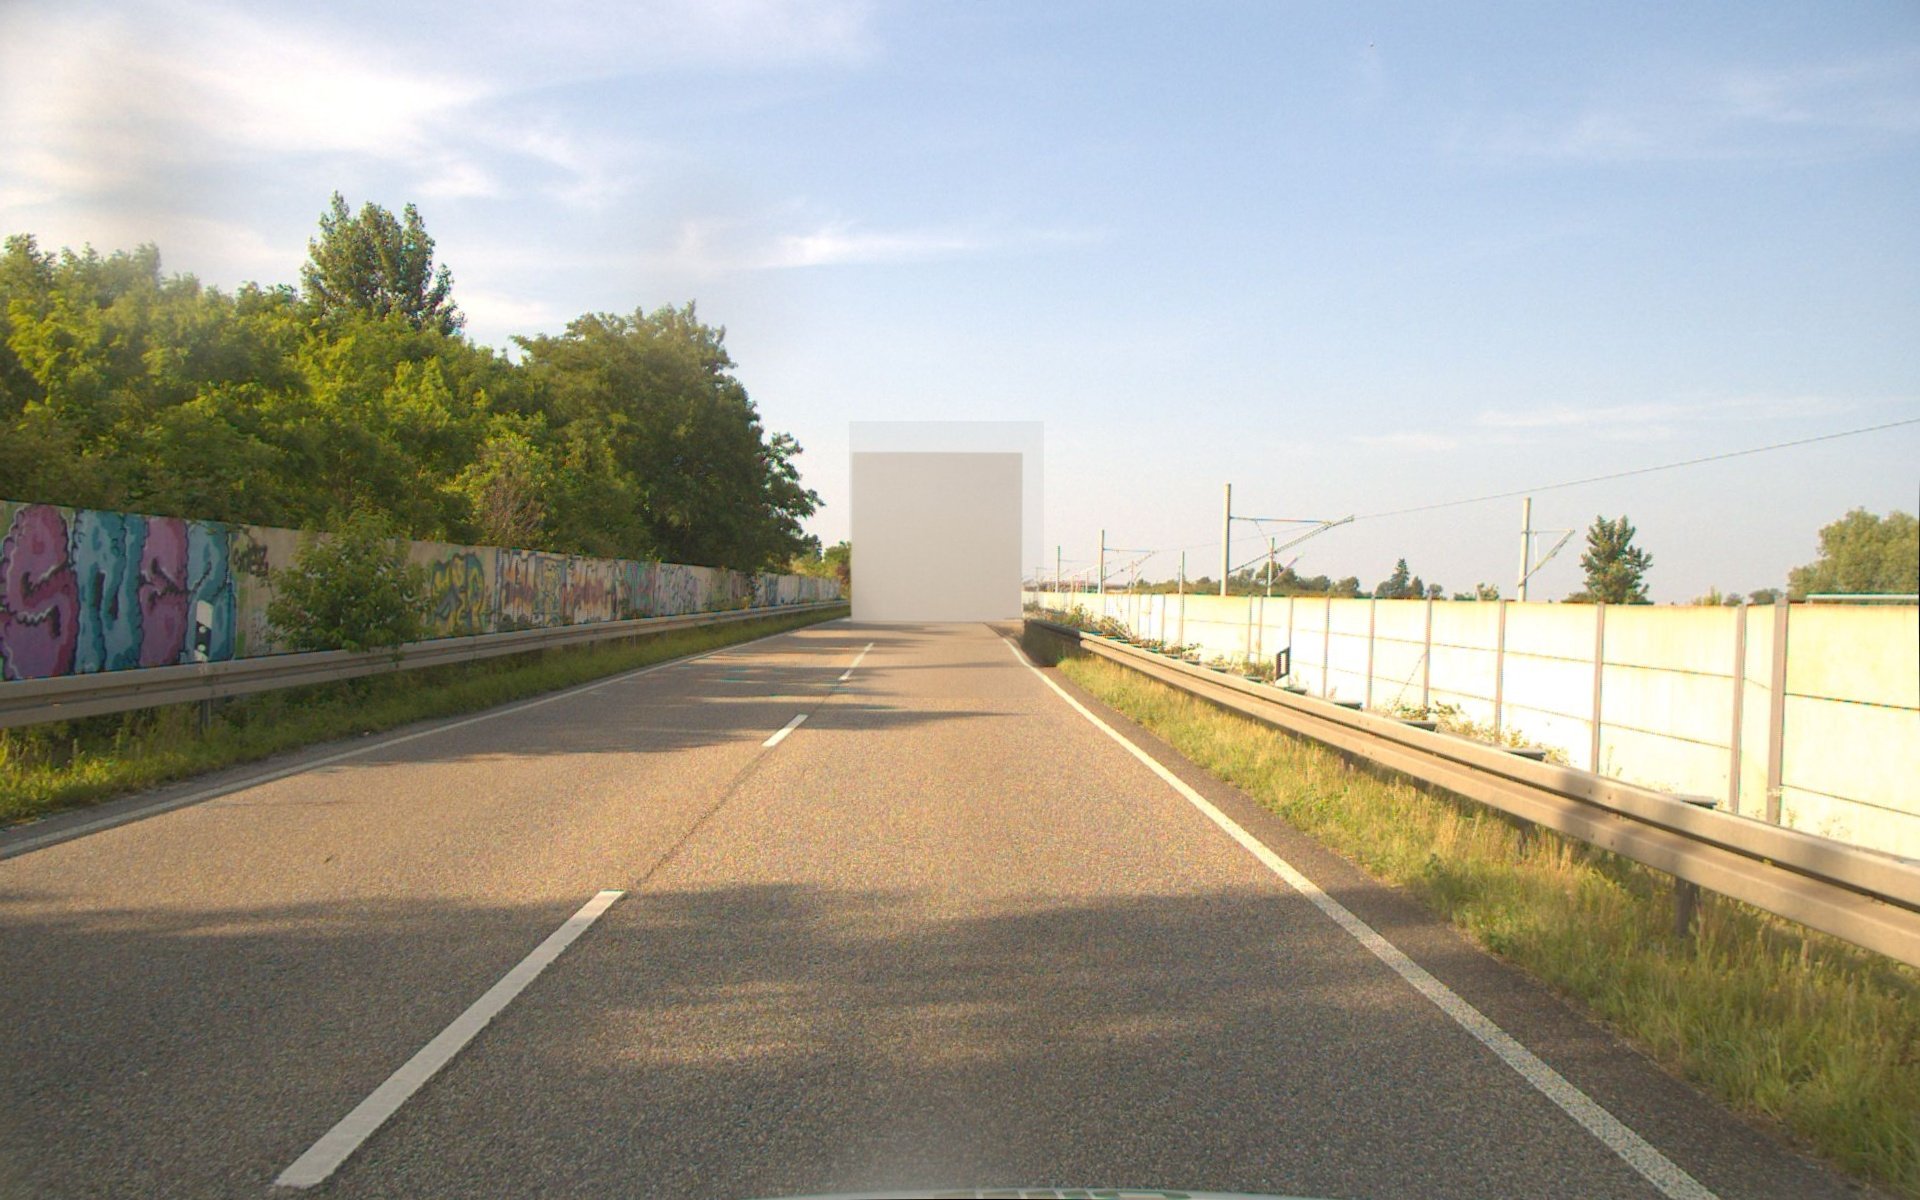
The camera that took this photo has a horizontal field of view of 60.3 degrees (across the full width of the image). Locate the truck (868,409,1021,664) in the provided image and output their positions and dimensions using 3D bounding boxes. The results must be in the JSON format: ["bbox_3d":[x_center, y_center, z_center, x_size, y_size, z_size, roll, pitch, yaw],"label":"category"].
[{"bbox_3d":[-0.520,-1.320,38.539,2.972,5.006,11.679,1,1,-2],"label":"truck"}]
